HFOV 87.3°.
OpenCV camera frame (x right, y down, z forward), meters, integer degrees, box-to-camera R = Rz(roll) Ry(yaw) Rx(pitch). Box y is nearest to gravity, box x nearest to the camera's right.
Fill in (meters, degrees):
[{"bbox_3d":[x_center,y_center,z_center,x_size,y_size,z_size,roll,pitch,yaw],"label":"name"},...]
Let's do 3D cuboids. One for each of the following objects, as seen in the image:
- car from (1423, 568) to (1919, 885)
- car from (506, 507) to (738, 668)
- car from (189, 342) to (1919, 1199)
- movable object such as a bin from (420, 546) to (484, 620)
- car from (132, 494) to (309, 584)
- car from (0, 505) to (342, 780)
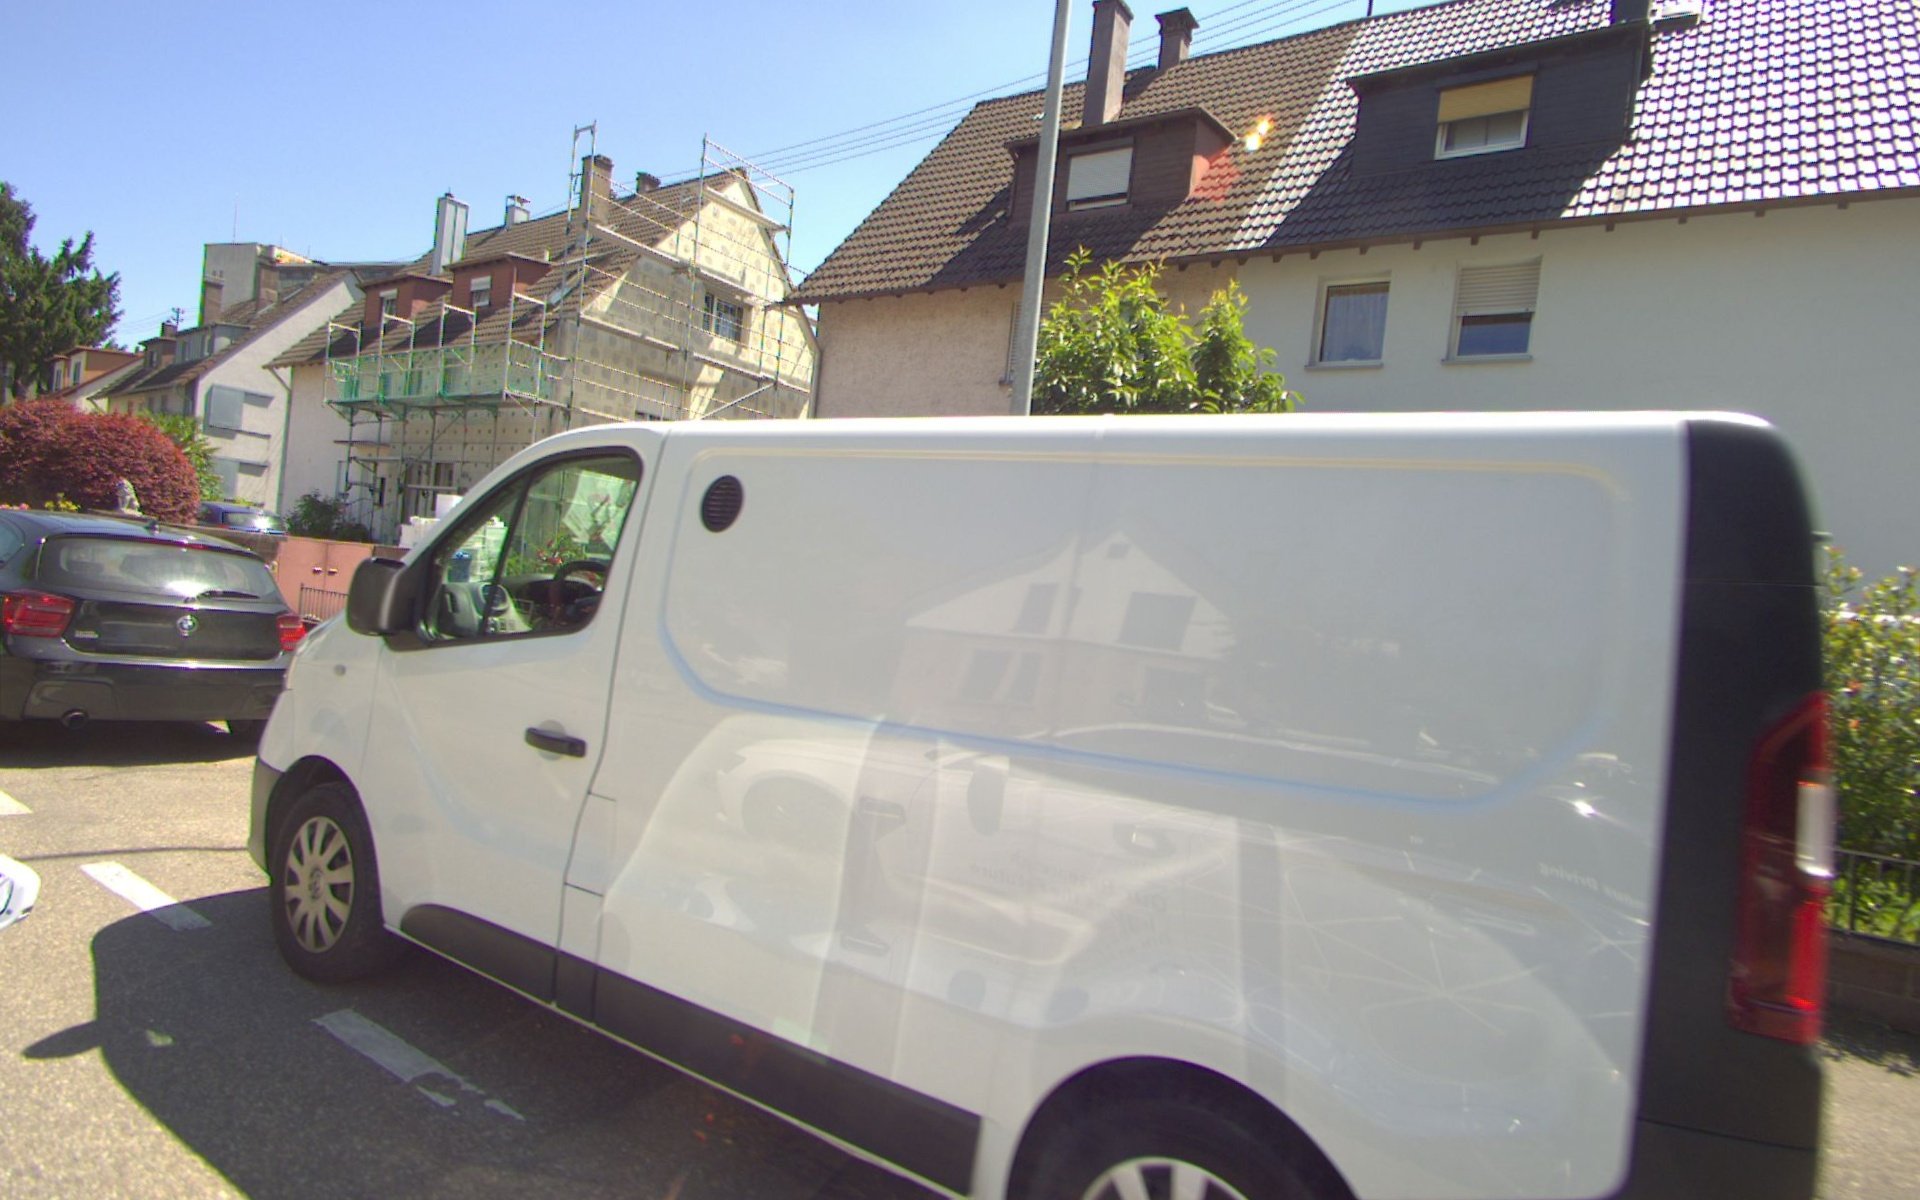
[{"bbox_3d":[6.356,0.909,8.078,4.335,1.882,1.740,8,4,40],"label":"car"},{"bbox_3d":[-4.184,-0.111,12.017,1.725,1.554,4.020,3,-1,-32],"label":"car"},{"bbox_3d":[-0.258,0.493,3.273,4.640,1.948,1.905,6,0,31],"label":"car"},{"bbox_3d":[-8.966,-0.298,17.755,0.738,1.236,0.756,7,5,39],"label":"movable object such as a bin"},{"bbox_3d":[-16.210,-1.338,22.003,3.934,1.531,1.794,7,3,33],"label":"car"},{"bbox_3d":[-6.226,0.117,7.005,3.935,1.415,1.658,6,0,33],"label":"car"}]
